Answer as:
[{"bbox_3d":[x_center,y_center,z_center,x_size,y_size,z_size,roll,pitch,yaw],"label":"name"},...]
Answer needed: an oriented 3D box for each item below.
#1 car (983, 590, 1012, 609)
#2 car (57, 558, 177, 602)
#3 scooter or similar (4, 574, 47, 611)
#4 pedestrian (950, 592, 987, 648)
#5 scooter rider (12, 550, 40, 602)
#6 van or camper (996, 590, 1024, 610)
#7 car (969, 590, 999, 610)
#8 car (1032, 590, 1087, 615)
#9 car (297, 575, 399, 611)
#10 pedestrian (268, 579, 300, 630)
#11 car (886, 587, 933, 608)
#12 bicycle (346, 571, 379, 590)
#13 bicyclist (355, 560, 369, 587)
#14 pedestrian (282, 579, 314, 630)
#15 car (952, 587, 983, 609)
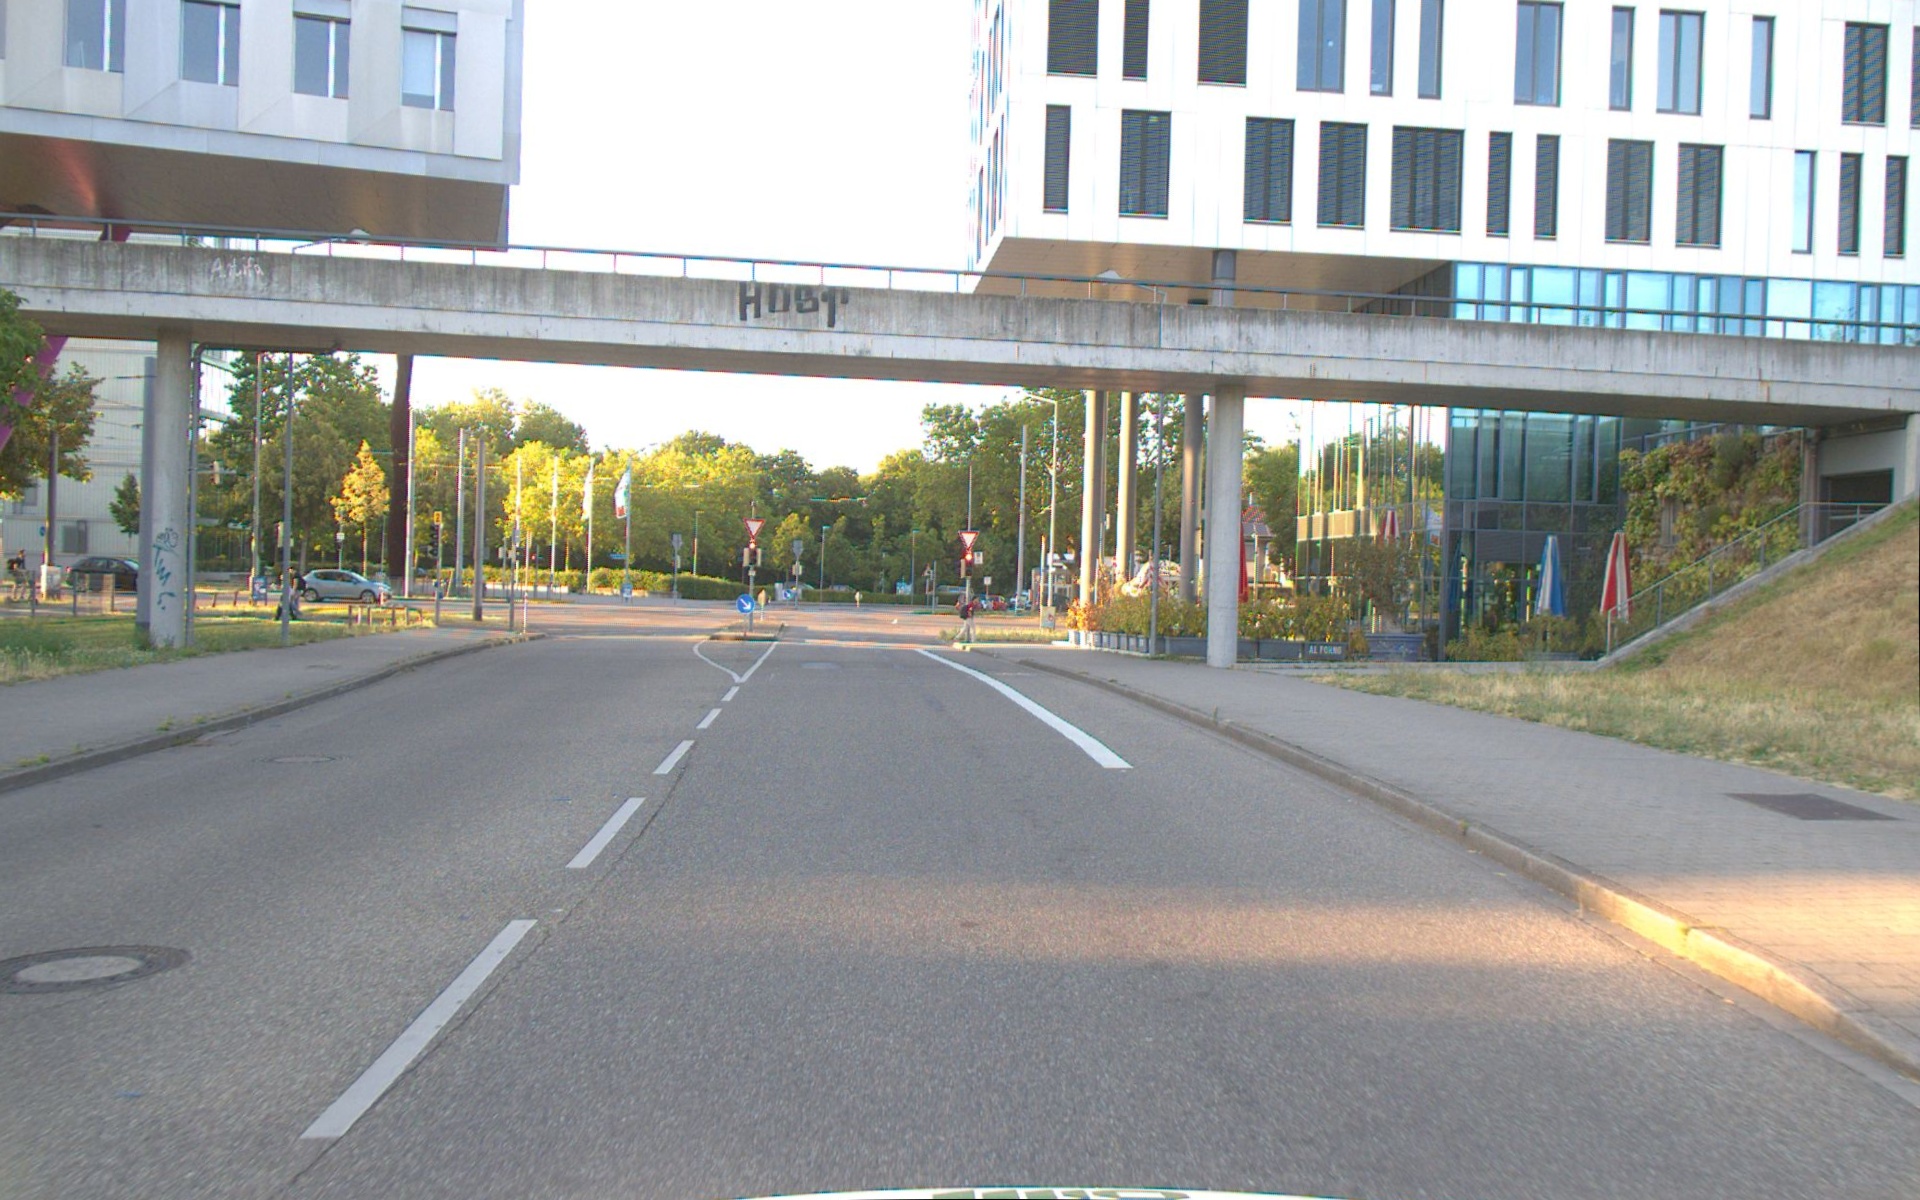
[{"bbox_3d":[3.386,-0.037,148.396,1.466,1.634,3.403,2,1,22],"label":"car"},{"bbox_3d":[-38.181,-0.921,75.004,4.381,1.848,1.943,2,1,-6],"label":"car"},{"bbox_3d":[-32.598,-0.266,57.717,1.191,1.221,0.502,2,1,-9],"label":"scooter or similar"},{"bbox_3d":[0.299,0.694,57.556,1.037,1.865,0.891,1,1,-18],"label":"pedestrian"},{"bbox_3d":[-32.593,-0.841,57.714,0.692,1.813,0.442,2,1,-8],"label":"scooter rider"},{"bbox_3d":[5.346,0.026,177.005,1.593,2.016,3.804,2,1,25],"label":"van or camper"},{"bbox_3d":[2.147,0.013,144.894,1.466,1.634,3.403,2,1,22],"label":"car"},{"bbox_3d":[8.081,0.196,134.462,4.375,1.848,1.946,2,1,1],"label":"car"},{"bbox_3d":[-27.132,-0.328,73.448,3.946,1.444,1.601,2,1,-7],"label":"car"},{"bbox_3d":[-22.523,0.152,55.103,0.671,1.652,0.712,2,1,13],"label":"pedestrian"},{"bbox_3d":[-5.071,-0.227,167.325,4.587,1.901,2.014,2,1,2],"label":"car"},{"bbox_3d":[-38.520,-1.269,106.647,1.941,1.148,0.555,1,1,-30],"label":"bicycle"},{"bbox_3d":[-38.539,-1.708,106.602,0.748,1.753,0.547,1,1,-30],"label":"bicyclist"},{"bbox_3d":[-22.352,0.137,55.839,0.685,1.693,0.712,2,1,13],"label":"pedestrian"},{"bbox_3d":[0.639,-0.155,140.716,1.466,1.791,3.403,2,1,22],"label":"car"}]
